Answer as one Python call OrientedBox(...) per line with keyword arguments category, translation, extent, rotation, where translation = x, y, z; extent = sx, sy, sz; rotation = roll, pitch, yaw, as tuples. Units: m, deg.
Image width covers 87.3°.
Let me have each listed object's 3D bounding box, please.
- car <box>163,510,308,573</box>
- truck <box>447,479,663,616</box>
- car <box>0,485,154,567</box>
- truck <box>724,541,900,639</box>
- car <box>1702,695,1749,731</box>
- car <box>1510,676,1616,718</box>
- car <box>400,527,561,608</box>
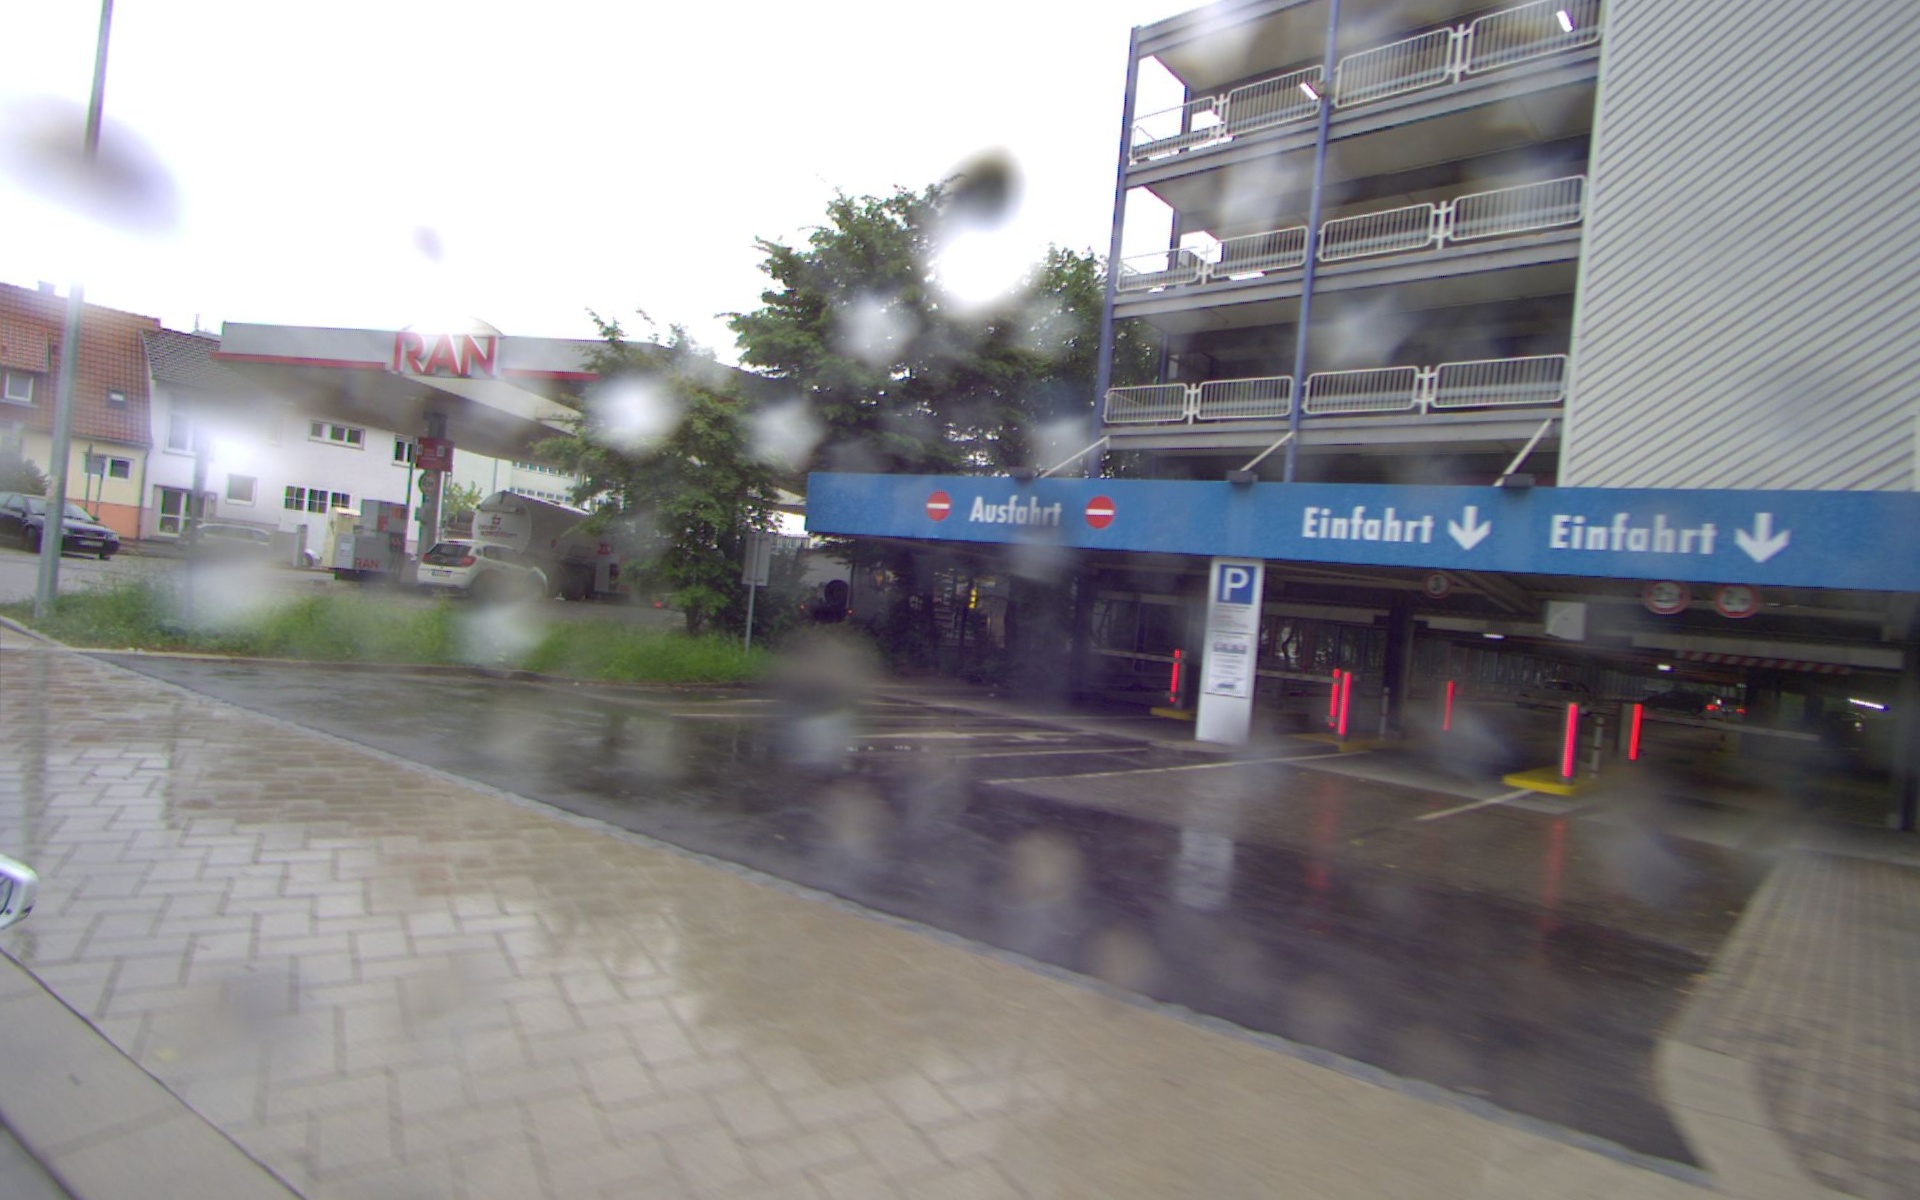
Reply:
OrientedBox(category="car", translation=(-27.352, -2.177, 38.086), extent=(1.927, 1.571, 3.990), rotation=(3, -6, 40))
OrientedBox(category="truck", translation=(-14.274, -1.684, 36.374), extent=(2.629, 3.479, 7.765), rotation=(6, -5, 16))
OrientedBox(category="car", translation=(-23.249, -1.932, 25.899), extent=(3.926, 1.568, 2.004), rotation=(5, -5, 20))
OrientedBox(category="truck", translation=(-3.867, -0.270, 26.400), extent=(3.929, 2.034, 2.002), rotation=(5, -5, 26))
OrientedBox(category="car", translation=(38.643, 5.736, 50.749), extent=(1.541, 1.380, 3.987), rotation=(3, -6, 41))
OrientedBox(category="car", translation=(28.243, 4.539, 47.201), extent=(3.947, 1.479, 1.736), rotation=(3, -6, 42))
OrientedBox(category="car", translation=(-12.378, -0.784, 26.228), extent=(1.917, 1.573, 3.533), rotation=(6, -3, 12))
